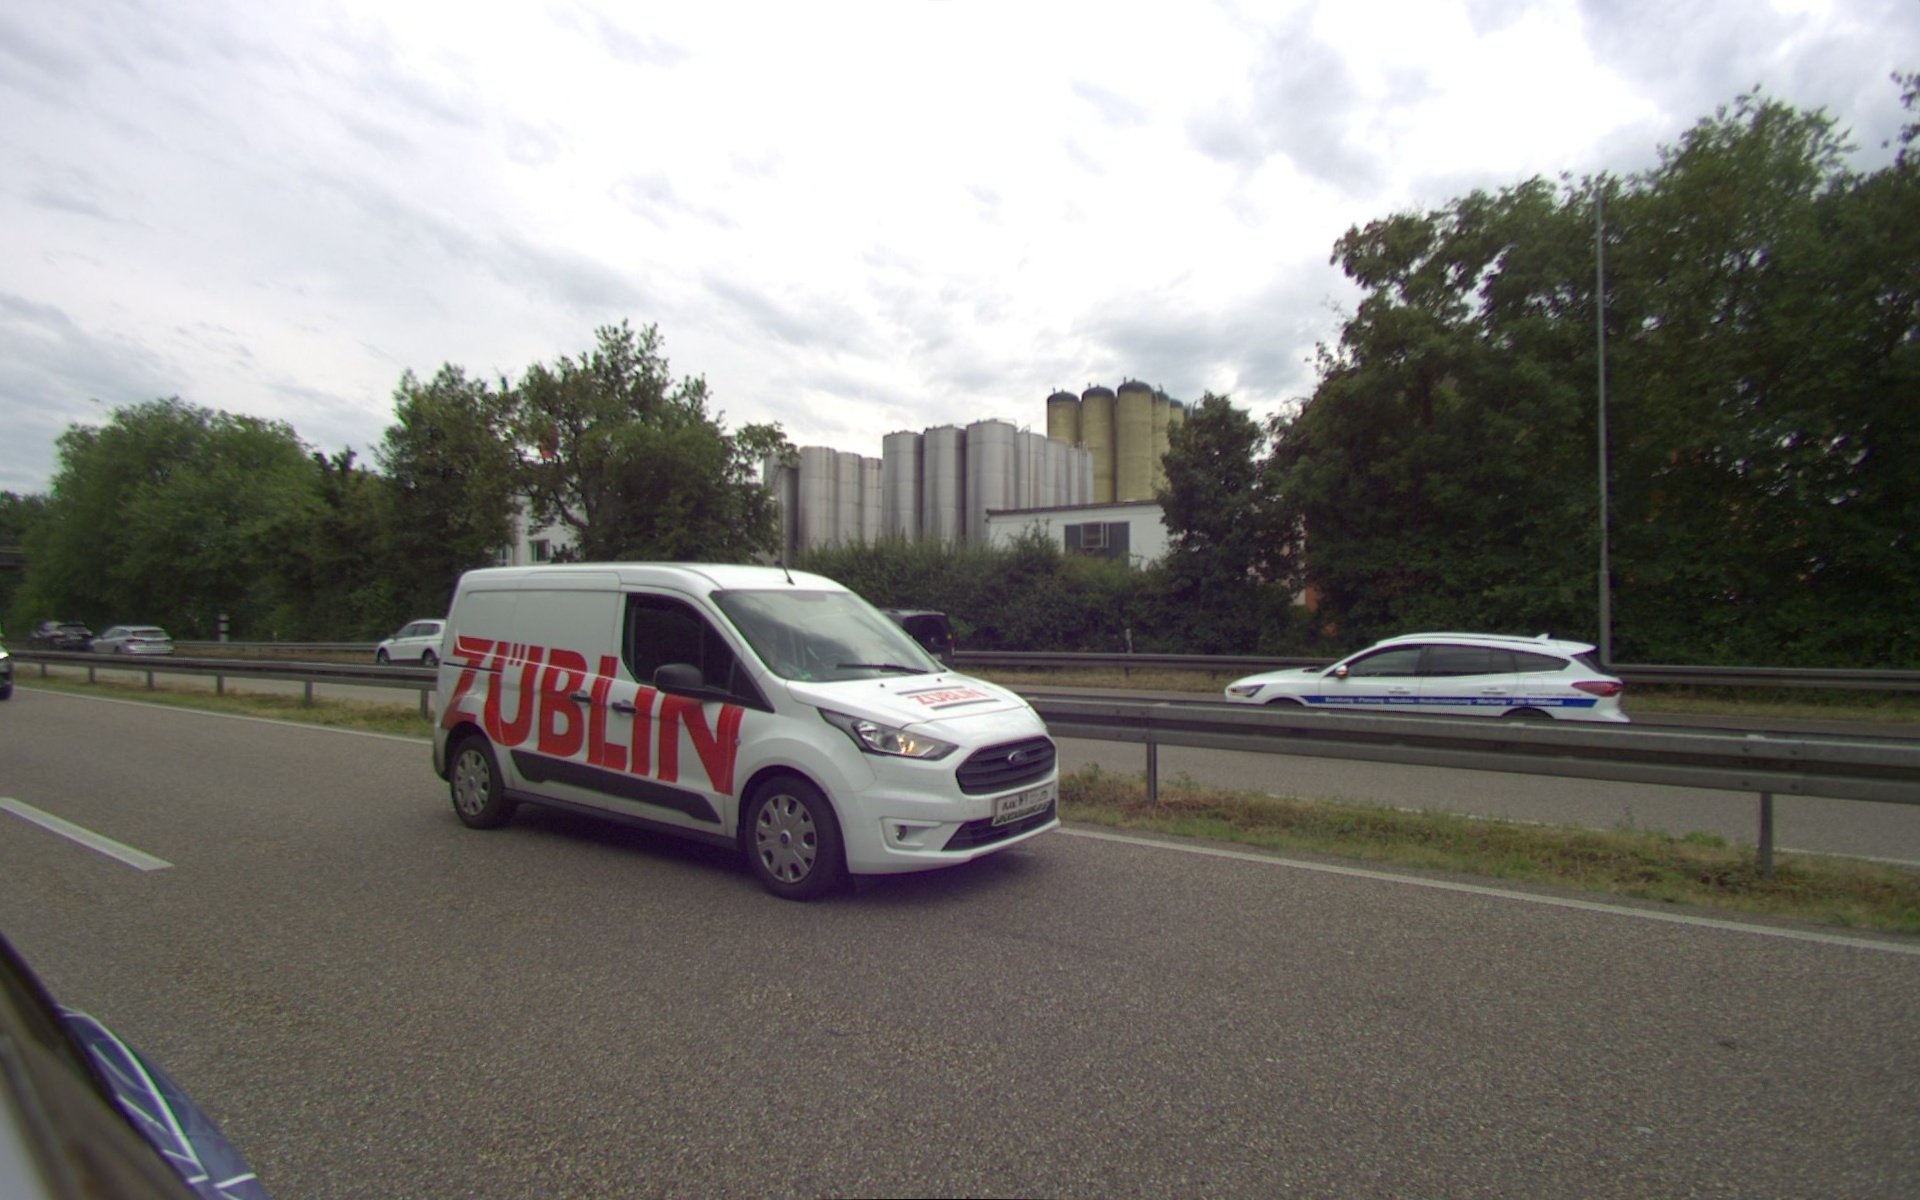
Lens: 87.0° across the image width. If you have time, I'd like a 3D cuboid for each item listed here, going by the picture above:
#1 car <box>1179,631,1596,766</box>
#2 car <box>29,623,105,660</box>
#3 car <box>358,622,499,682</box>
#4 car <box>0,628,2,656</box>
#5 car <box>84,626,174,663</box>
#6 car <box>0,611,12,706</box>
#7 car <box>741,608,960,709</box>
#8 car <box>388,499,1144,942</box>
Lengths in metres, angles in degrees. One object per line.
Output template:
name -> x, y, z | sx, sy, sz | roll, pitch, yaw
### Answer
car -> 5.313, 1.137, 12.933 | 4.645, 1.460, 1.670 | -1, -2, 30
car -> -44.681, 2.039, 50.637 | 3.986, 1.763, 1.763 | -1, 0, 32
car -> -16.215, 1.529, 30.793 | 4.750, 1.646, 1.713 | -1, 0, 33
car -> -59.192, 2.522, 60.674 | 3.988, 1.630, 1.680 | -1, -2, 33
car -> -34.310, 1.824, 41.765 | 3.984, 1.467, 1.594 | -1, -2, 30
car -> -18.887, 1.042, 18.377 | 3.994, 1.664, 1.826 | -1, -2, 38
car -> -2.202, 1.088, 19.813 | 4.266, 1.780, 1.561 | -1, -2, 34
car -> -1.502, 0.567, 6.481 | 4.996, 1.864, 1.830 | -1, -2, 36
